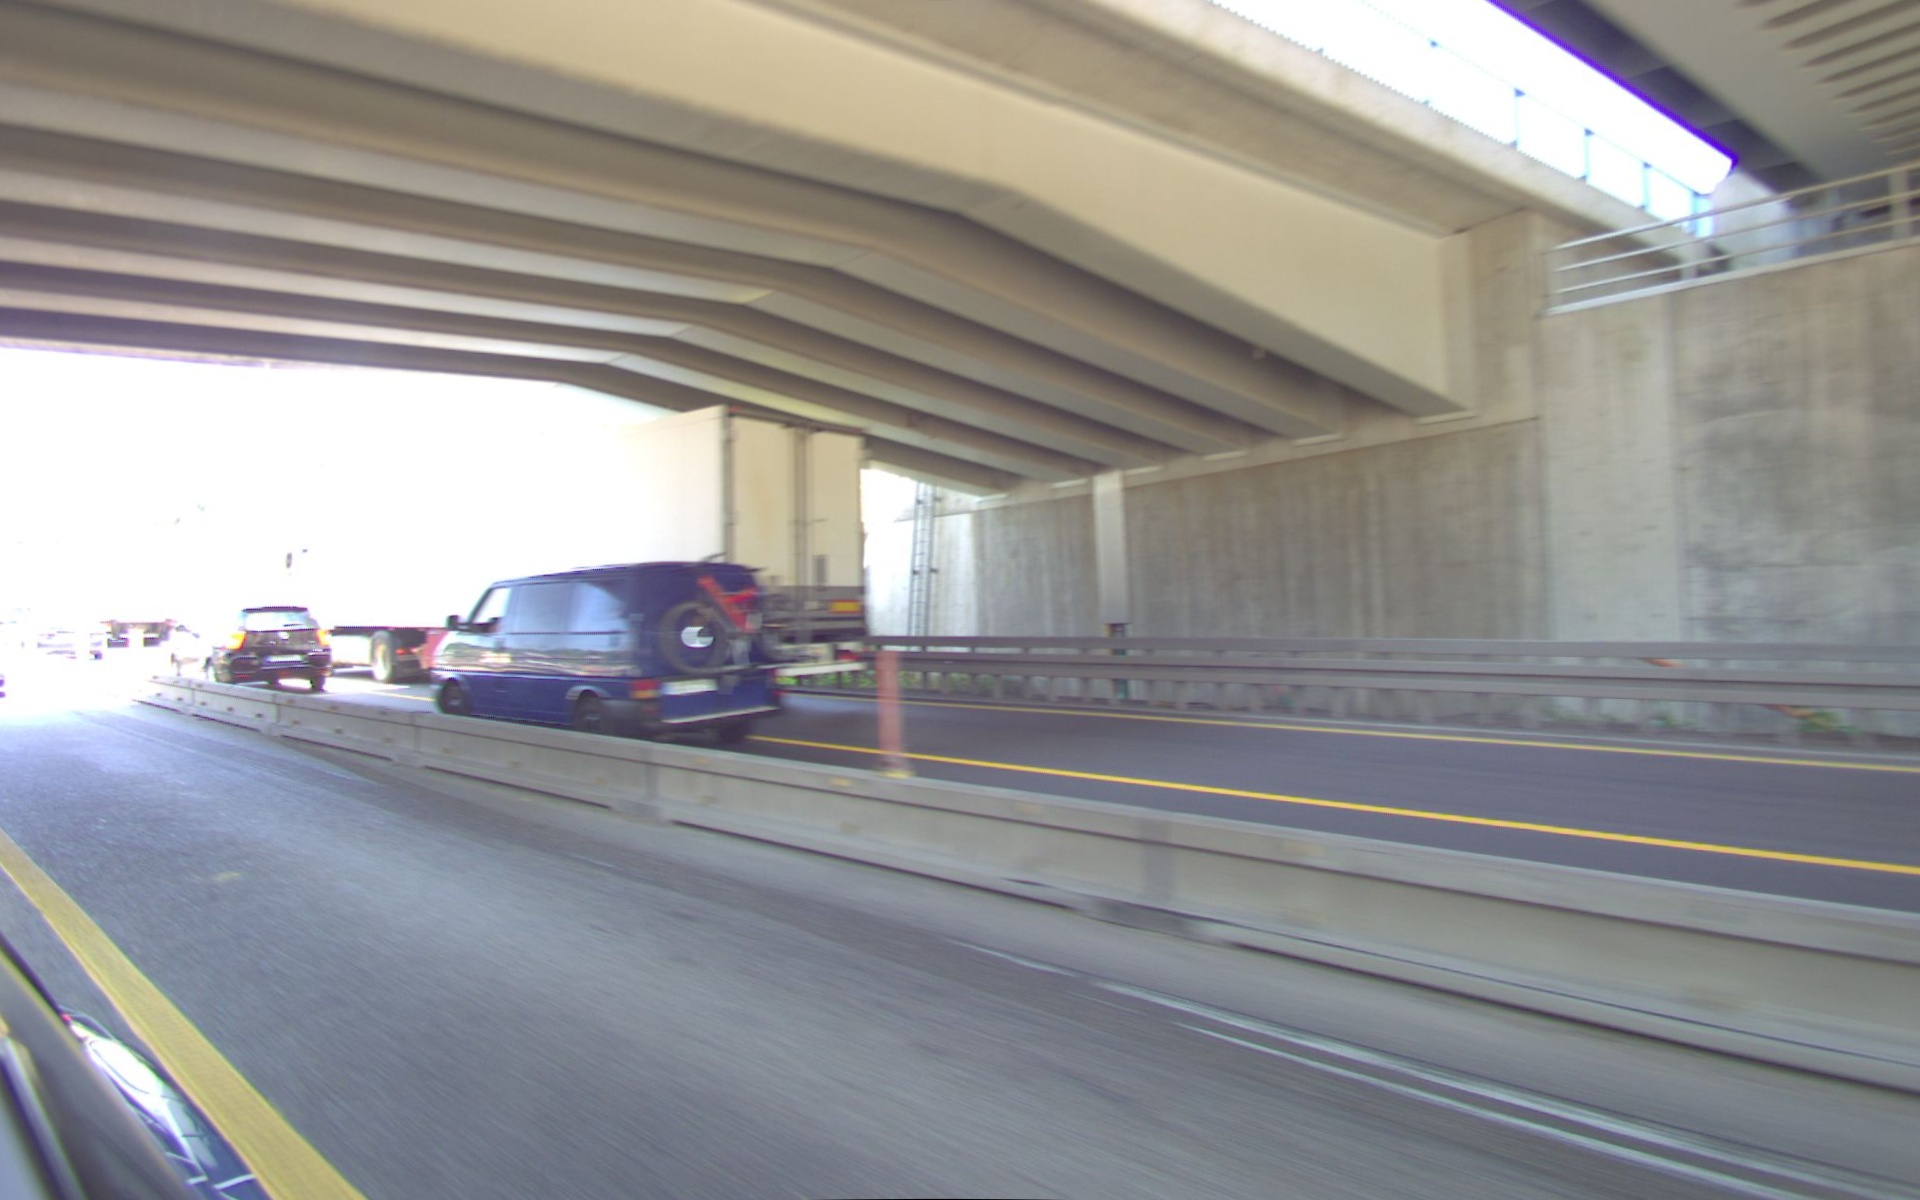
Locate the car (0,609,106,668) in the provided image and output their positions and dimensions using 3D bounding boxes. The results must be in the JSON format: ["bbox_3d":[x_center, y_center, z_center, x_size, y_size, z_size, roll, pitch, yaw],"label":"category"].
[{"bbox_3d":[-27.576,1.102,30.665,4.770,1.539,1.836,0,1,41],"label":"car"}]

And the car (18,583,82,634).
[{"bbox_3d":[-53.582,0.462,59.543,6.559,2.842,2.250,0,1,43],"label":"car"}]

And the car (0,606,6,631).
[{"bbox_3d":[-60.292,1.164,62.409,4.184,1.529,1.735,-1,0,42],"label":"car"}]

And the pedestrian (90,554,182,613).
[{"bbox_3d":[-30.147,-0.599,37.012,3.998,2.029,1.973,0,1,41],"label":"pedestrian"}]

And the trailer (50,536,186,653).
[{"bbox_3d":[-33.574,-0.233,40.221,8.238,4.205,2.784,0,1,41],"label":"trailer"}]

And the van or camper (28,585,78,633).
[{"bbox_3d":[-53.598,0.528,59.751,2.098,2.725,6.462,0,-1,-43],"label":"van or camper"}]

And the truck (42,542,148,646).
[{"bbox_3d":[-36.606,-0.267,42.812,4.071,4.181,2.770,0,1,40],"label":"truck"}]

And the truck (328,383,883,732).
[{"bbox_3d":[-7.178,-0.581,17.981,13.478,4.346,2.741,0,1,40],"label":"truck"}]

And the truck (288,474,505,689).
[{"bbox_3d":[-12.613,-0.397,22.526,5.184,4.202,2.632,0,1,41],"label":"truck"}]

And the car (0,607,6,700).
[{"bbox_3d":[-18.805,0.940,18.383,4.388,1.609,1.814,0,0,42],"label":"car"}]

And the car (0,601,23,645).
[{"bbox_3d":[-41.101,0.958,42.658,4.606,1.769,1.836,0,1,41],"label":"car"}]

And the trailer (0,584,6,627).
[{"bbox_3d":[-92.403,0.455,95.268,11.266,3.899,2.573,0,1,41],"label":"trailer"}]

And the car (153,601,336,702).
[{"bbox_3d":[-13.488,0.910,18.981,4.520,1.622,1.704,-2,1,40],"label":"car"}]

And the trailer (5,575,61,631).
[{"bbox_3d":[-67.840,0.131,73.954,2.625,3.844,11.829,-1,1,-44],"label":"trailer"}]

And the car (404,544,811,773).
[{"bbox_3d":[-3.966,0.517,10.866,4.963,1.947,1.782,-1,0,39],"label":"car"}]
